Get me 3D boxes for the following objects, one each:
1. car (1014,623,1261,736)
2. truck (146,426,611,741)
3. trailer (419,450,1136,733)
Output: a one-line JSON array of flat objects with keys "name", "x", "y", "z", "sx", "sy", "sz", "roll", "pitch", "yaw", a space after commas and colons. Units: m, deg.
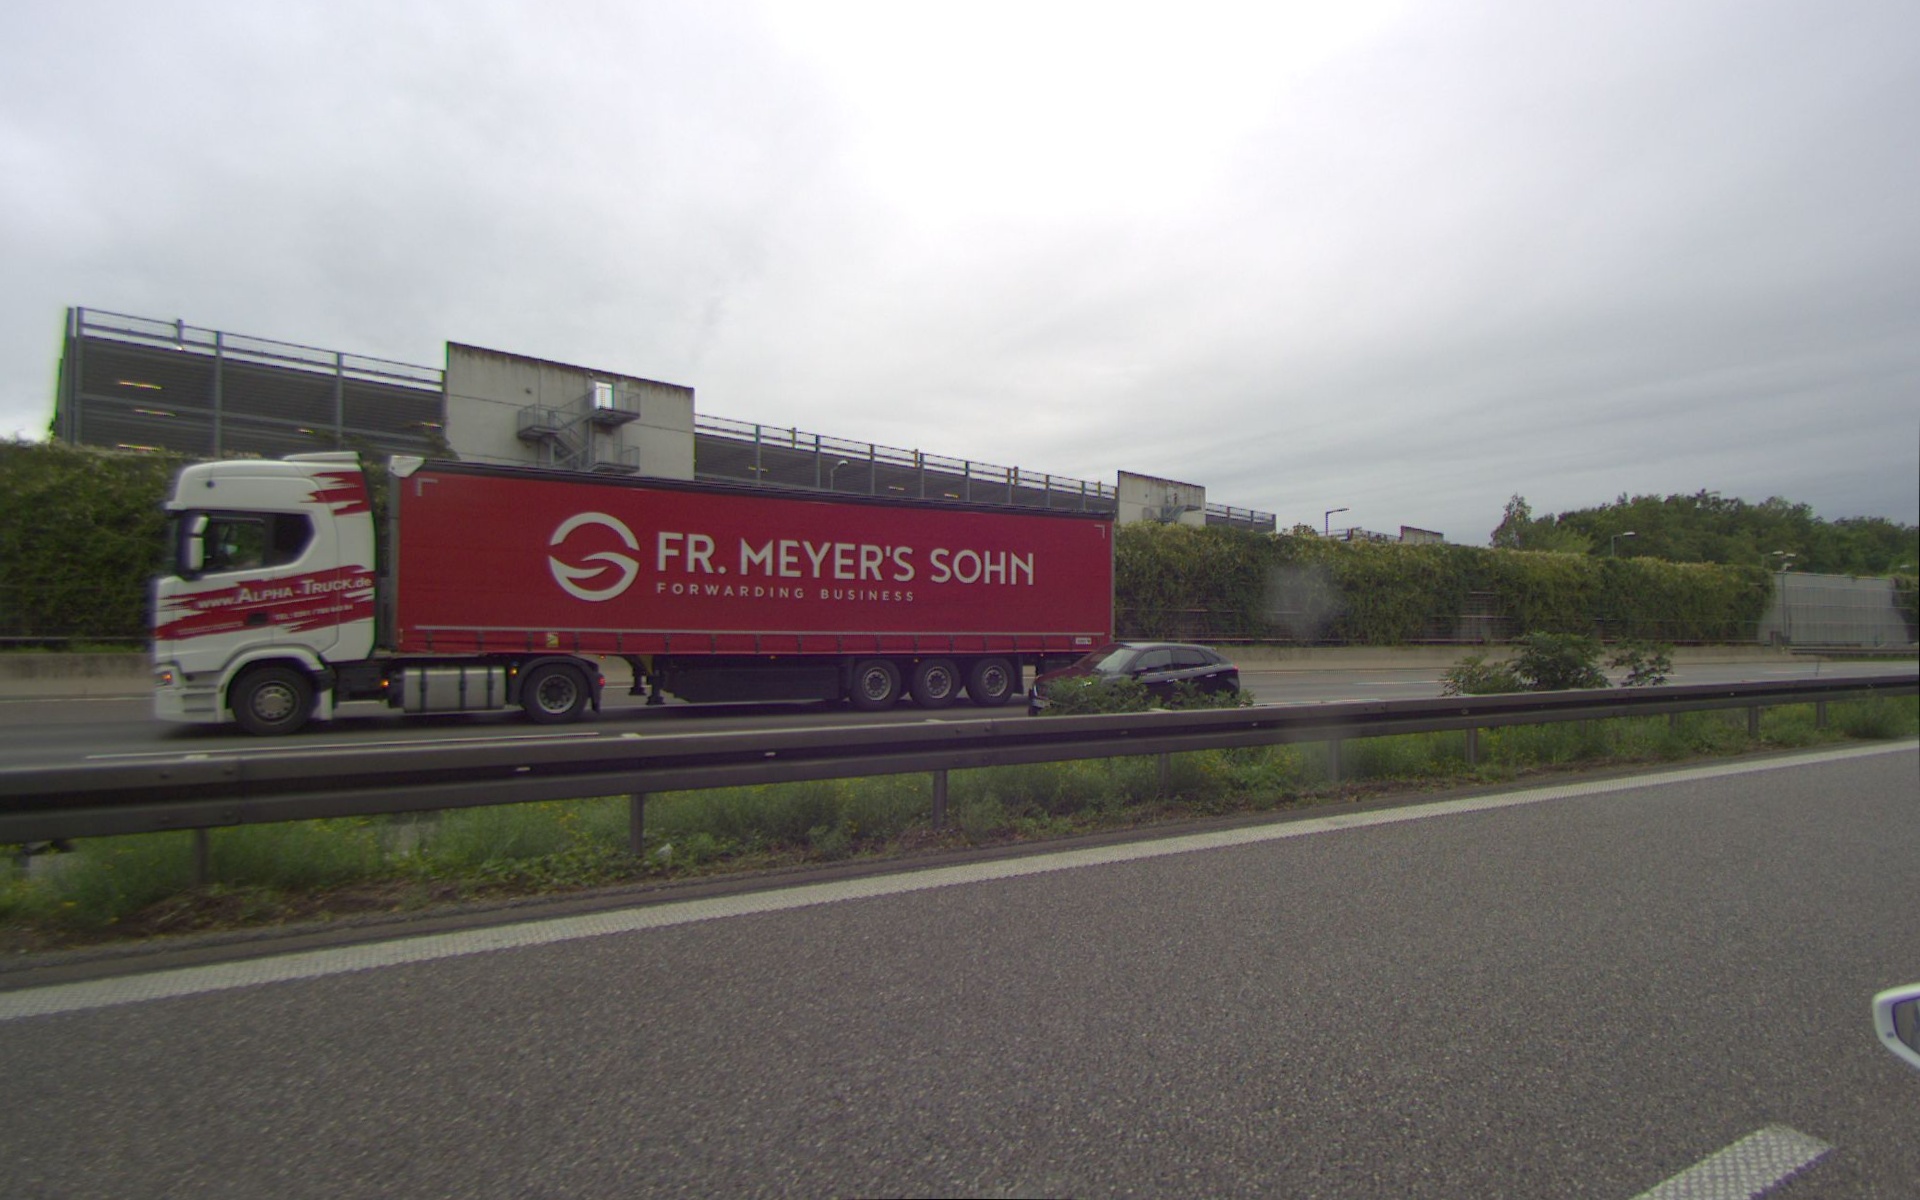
[{"name": "car", "x": 3.148, "y": 1.333, "z": 17.703, "sx": 3.954, "sy": 1.762, "sz": 1.984, "roll": 2, "pitch": -2, "yaw": -31}, {"name": "truck", "x": -8.823, "y": -0.145, "z": 15.918, "sx": 5.844, "sy": 4.182, "sz": 2.657, "roll": 1, "pitch": -2, "yaw": -29}, {"name": "trailer", "x": -2.740, "y": 0.001, "z": 19.414, "sx": 13.525, "sy": 4.182, "sz": 2.732, "roll": 1, "pitch": -1, "yaw": -30}]
